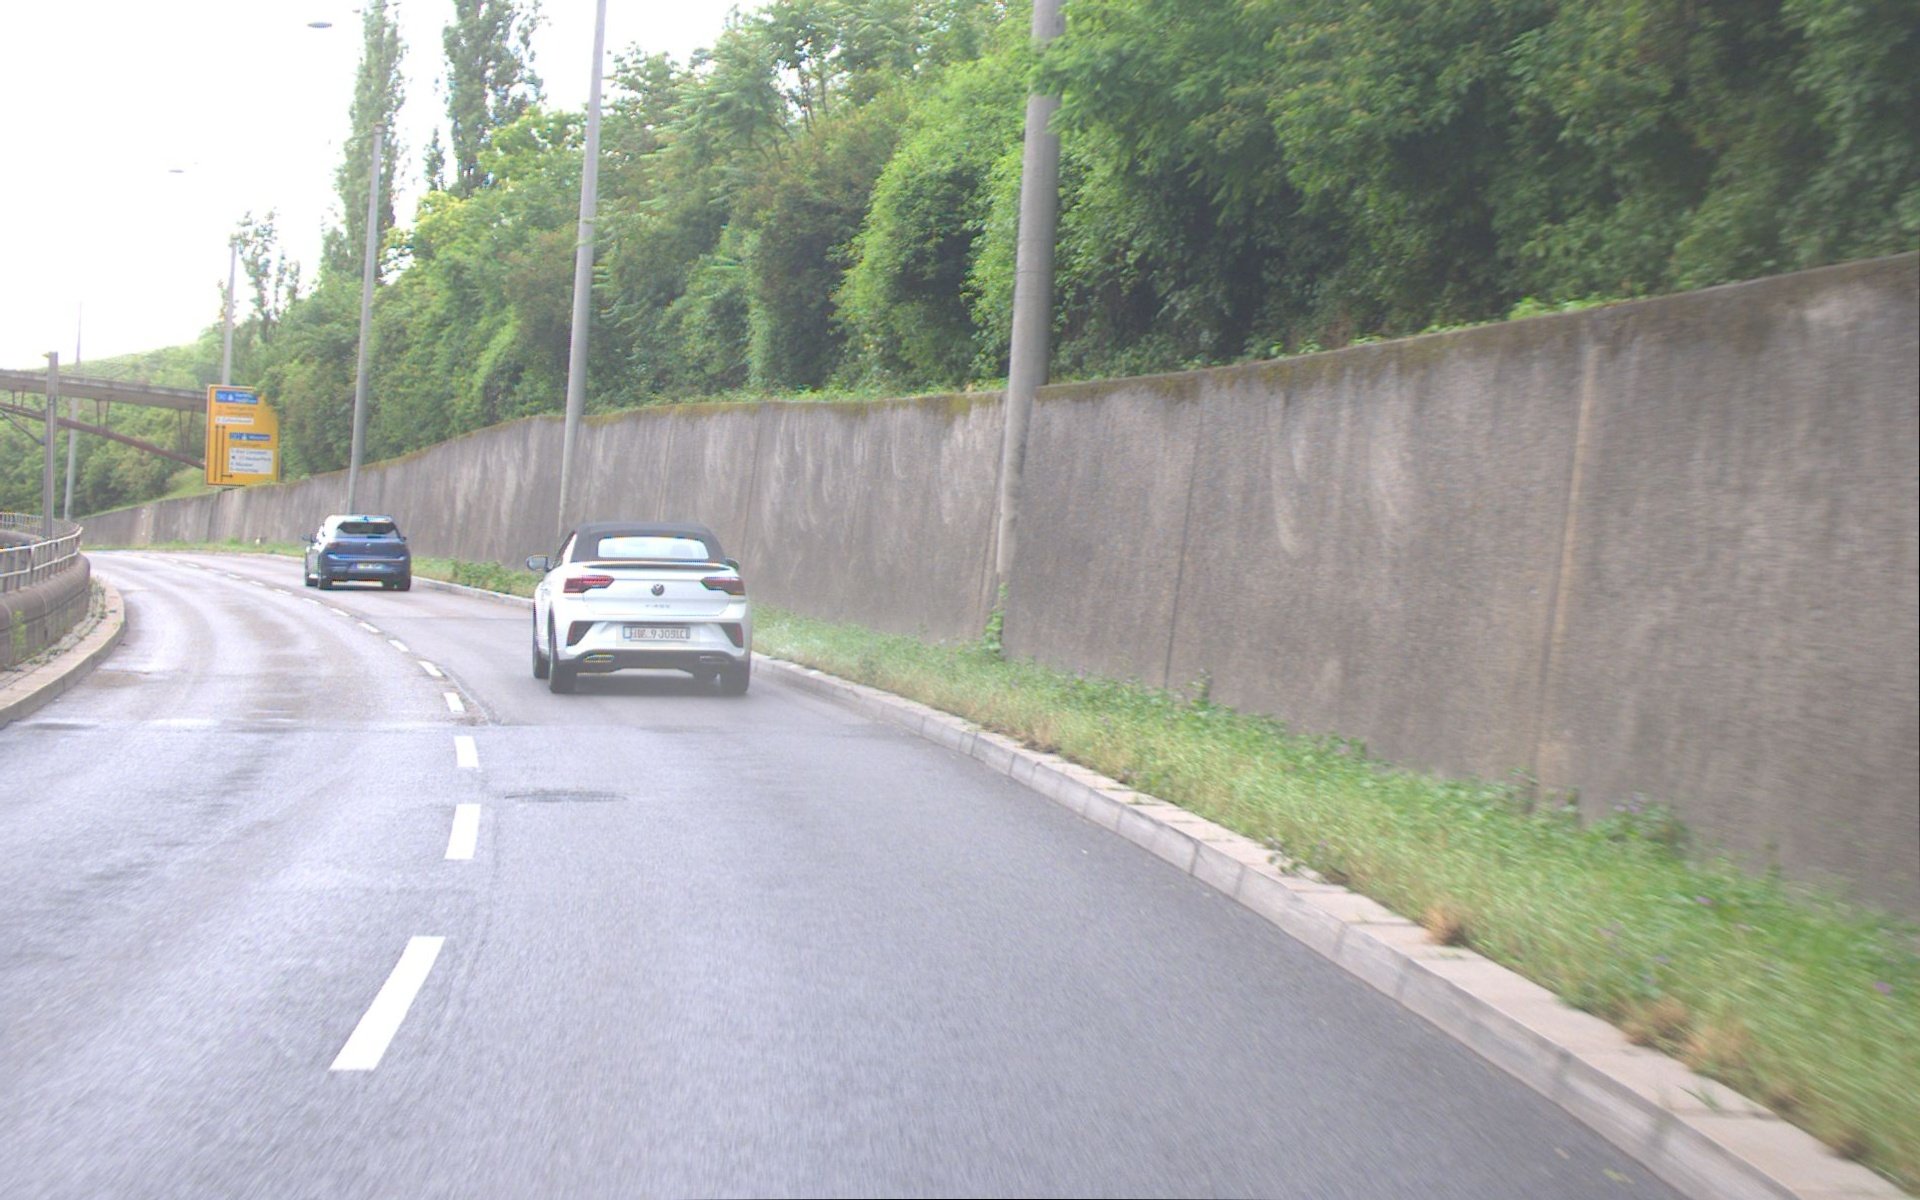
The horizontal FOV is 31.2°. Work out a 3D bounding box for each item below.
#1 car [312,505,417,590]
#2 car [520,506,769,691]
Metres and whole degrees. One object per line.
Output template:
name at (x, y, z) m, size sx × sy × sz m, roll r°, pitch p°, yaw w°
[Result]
car at (-11.745, -1.058, 67.657) m, size 1.926 × 1.593 × 4.063 m, roll 1°, pitch 2°, yaw -11°
car at (-2.991, -0.063, 31.830) m, size 1.995 × 1.573 × 4.127 m, roll 1°, pitch 2°, yaw -9°
